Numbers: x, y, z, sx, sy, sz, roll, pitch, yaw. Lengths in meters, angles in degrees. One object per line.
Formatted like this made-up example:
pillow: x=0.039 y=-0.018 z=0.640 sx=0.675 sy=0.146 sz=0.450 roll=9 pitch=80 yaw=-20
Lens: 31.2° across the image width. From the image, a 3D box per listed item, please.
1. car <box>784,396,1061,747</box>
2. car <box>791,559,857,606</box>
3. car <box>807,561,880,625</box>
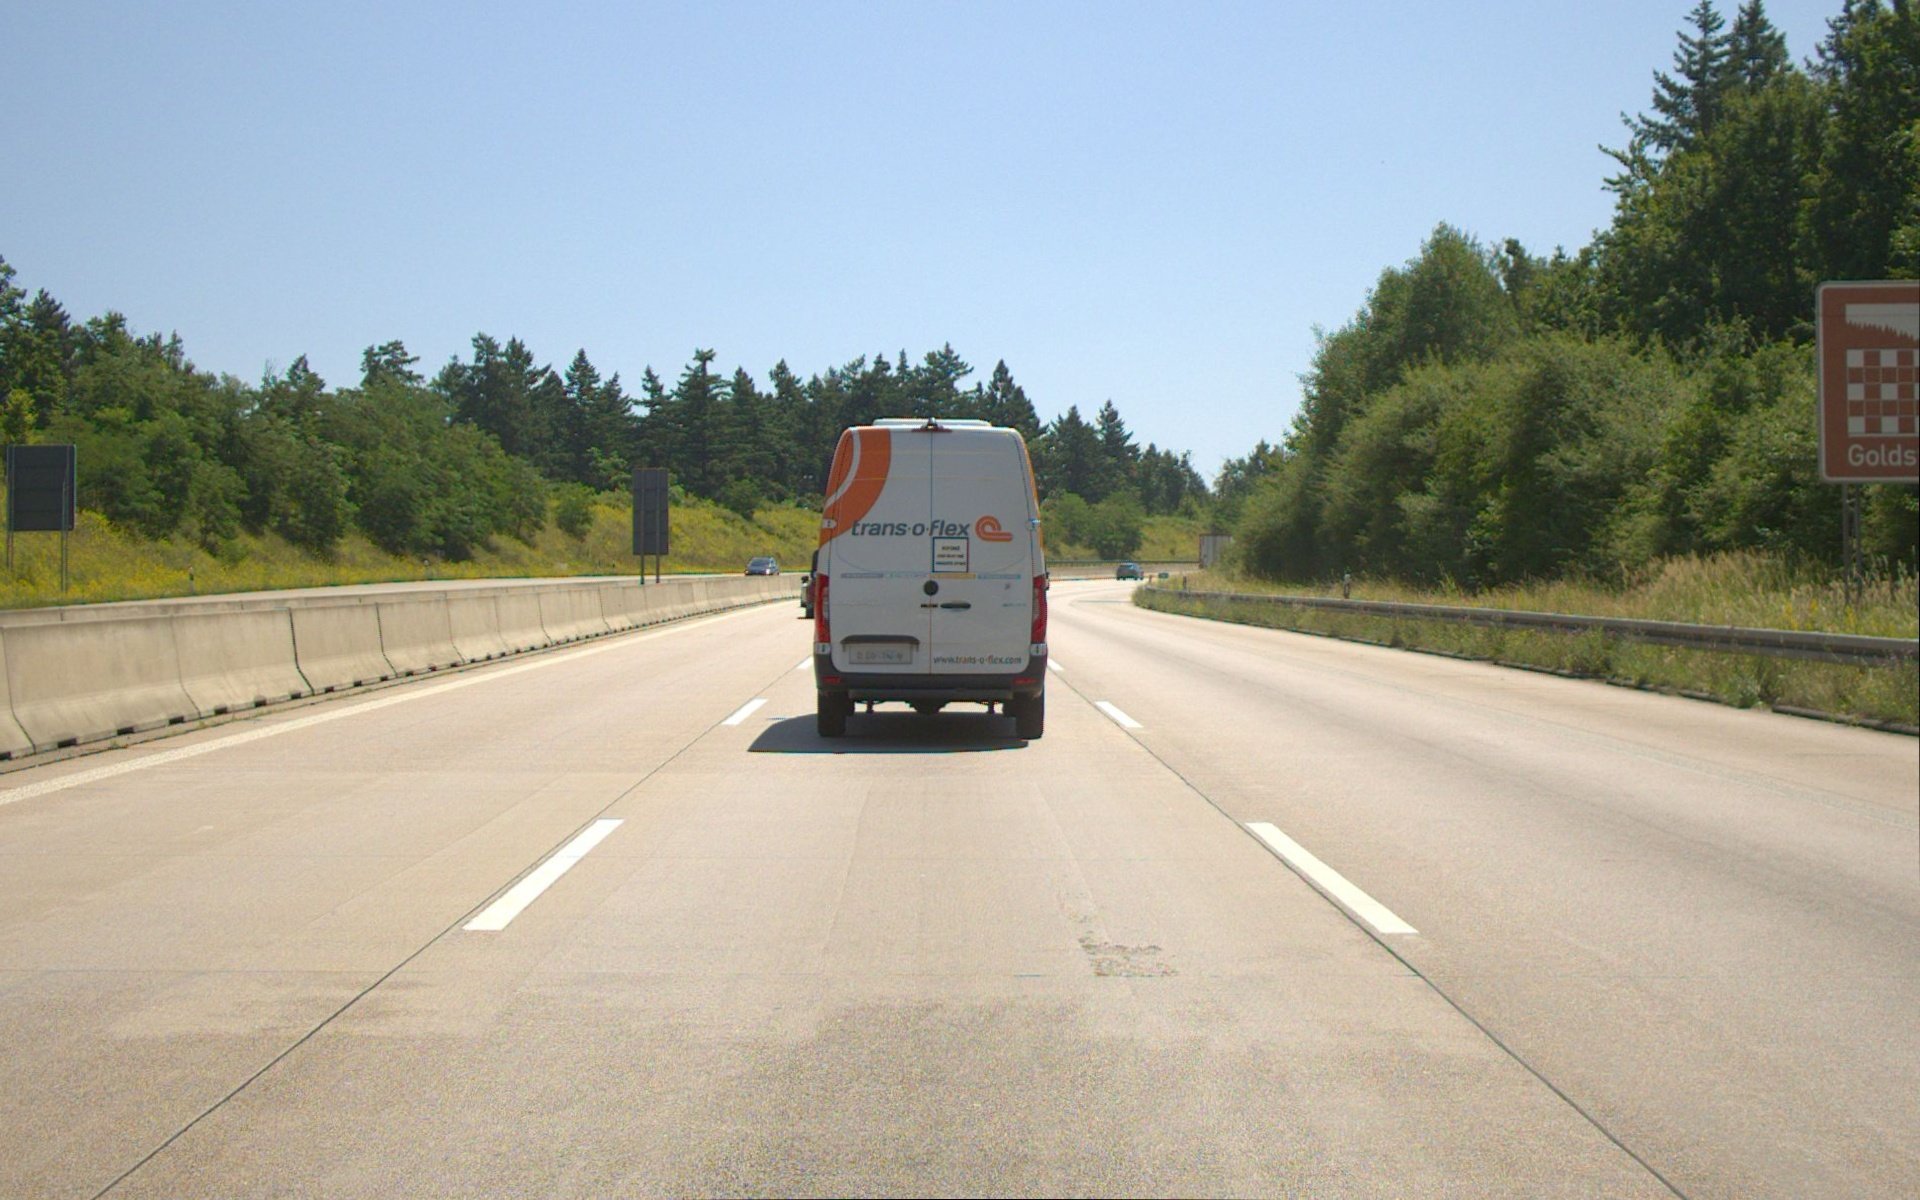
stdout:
car: x=-0.347 y=-0.262 z=30.721 sx=2.226 sy=2.834 sz=5.454 roll=1 pitch=1 yaw=-1
car: x=-4.965 y=-0.633 z=126.142 sx=1.994 sy=1.678 sz=3.999 roll=0 pitch=0 yaw=4
car: x=-3.319 y=-0.193 z=98.680 sx=1.993 sy=1.788 sz=4.000 roll=0 pitch=0 yaw=-1
